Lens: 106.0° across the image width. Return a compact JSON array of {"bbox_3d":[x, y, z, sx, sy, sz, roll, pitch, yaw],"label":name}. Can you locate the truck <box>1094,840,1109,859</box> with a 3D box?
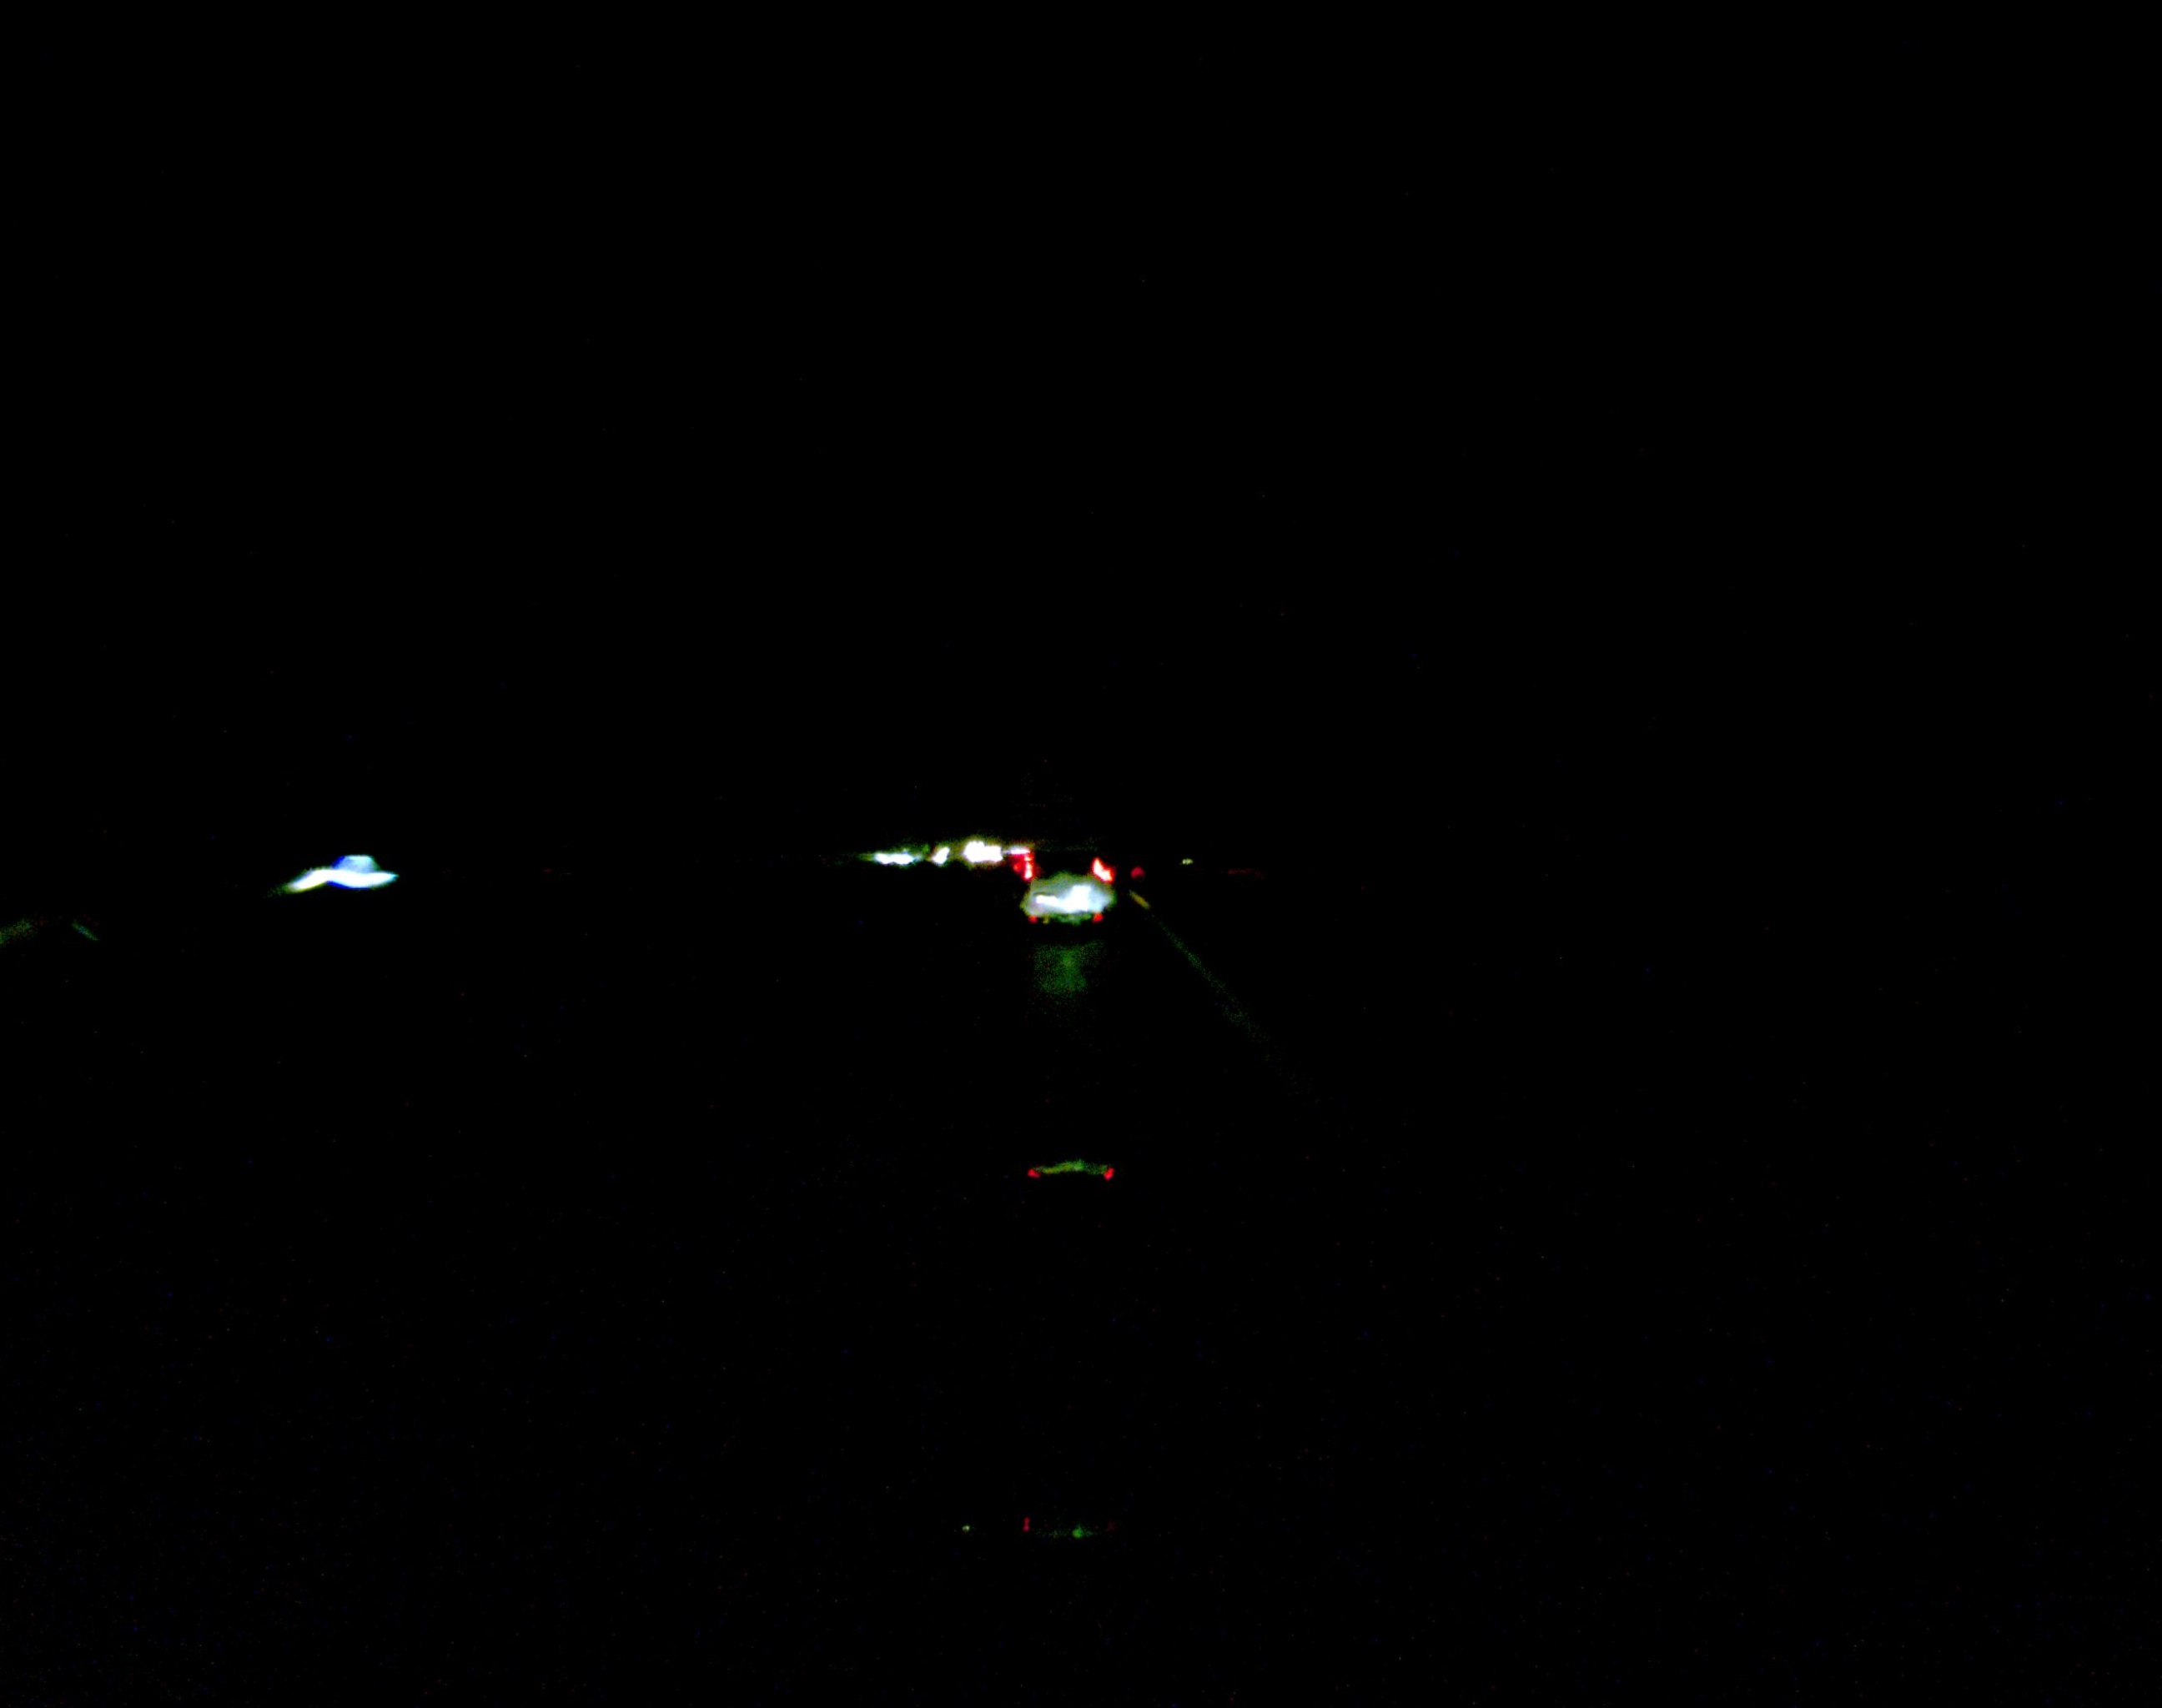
[{"bbox_3d":[5.509,-1.035,218.548,3.811,4.915,11.606,1,0,1],"label":"truck"}]

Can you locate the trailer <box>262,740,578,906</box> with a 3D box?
[{"bbox_3d":[-24.455,-1.039,31.226,4.325,5.141,8.997,4,0,1],"label":"trailer"}]

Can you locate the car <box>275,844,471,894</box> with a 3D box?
[{"bbox_3d":[-19.705,0.393,22.964,1.701,1.221,4.273,2,0,1],"label":"car"}]

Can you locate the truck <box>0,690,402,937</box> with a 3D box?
[{"bbox_3d":[-24.608,-0.988,21.392,4.325,5.141,10.472,4,0,0],"label":"truck"}]

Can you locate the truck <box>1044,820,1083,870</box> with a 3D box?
[{"bbox_3d":[-1.995,-0.979,98.090,4.153,5.544,13.075,0,0,1],"label":"truck"}]

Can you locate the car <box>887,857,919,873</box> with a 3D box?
[{"bbox_3d":[-17.757,1.121,81.450,1.965,1.464,5.370,2,0,1],"label":"car"}]

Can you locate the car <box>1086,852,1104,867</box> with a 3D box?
[{"bbox_3d":[1.572,0.603,90.797,1.987,1.707,4.195,0,0,0],"label":"car"}]

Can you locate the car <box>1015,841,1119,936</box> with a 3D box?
[{"bbox_3d":[-0.217,0.661,17.916,1.946,1.792,5.125,0,0,1],"label":"car"}]

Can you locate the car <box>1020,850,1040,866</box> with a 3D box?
[{"bbox_3d":[-6.210,0.458,99.706,1.987,1.706,4.196,5,0,1],"label":"car"}]
